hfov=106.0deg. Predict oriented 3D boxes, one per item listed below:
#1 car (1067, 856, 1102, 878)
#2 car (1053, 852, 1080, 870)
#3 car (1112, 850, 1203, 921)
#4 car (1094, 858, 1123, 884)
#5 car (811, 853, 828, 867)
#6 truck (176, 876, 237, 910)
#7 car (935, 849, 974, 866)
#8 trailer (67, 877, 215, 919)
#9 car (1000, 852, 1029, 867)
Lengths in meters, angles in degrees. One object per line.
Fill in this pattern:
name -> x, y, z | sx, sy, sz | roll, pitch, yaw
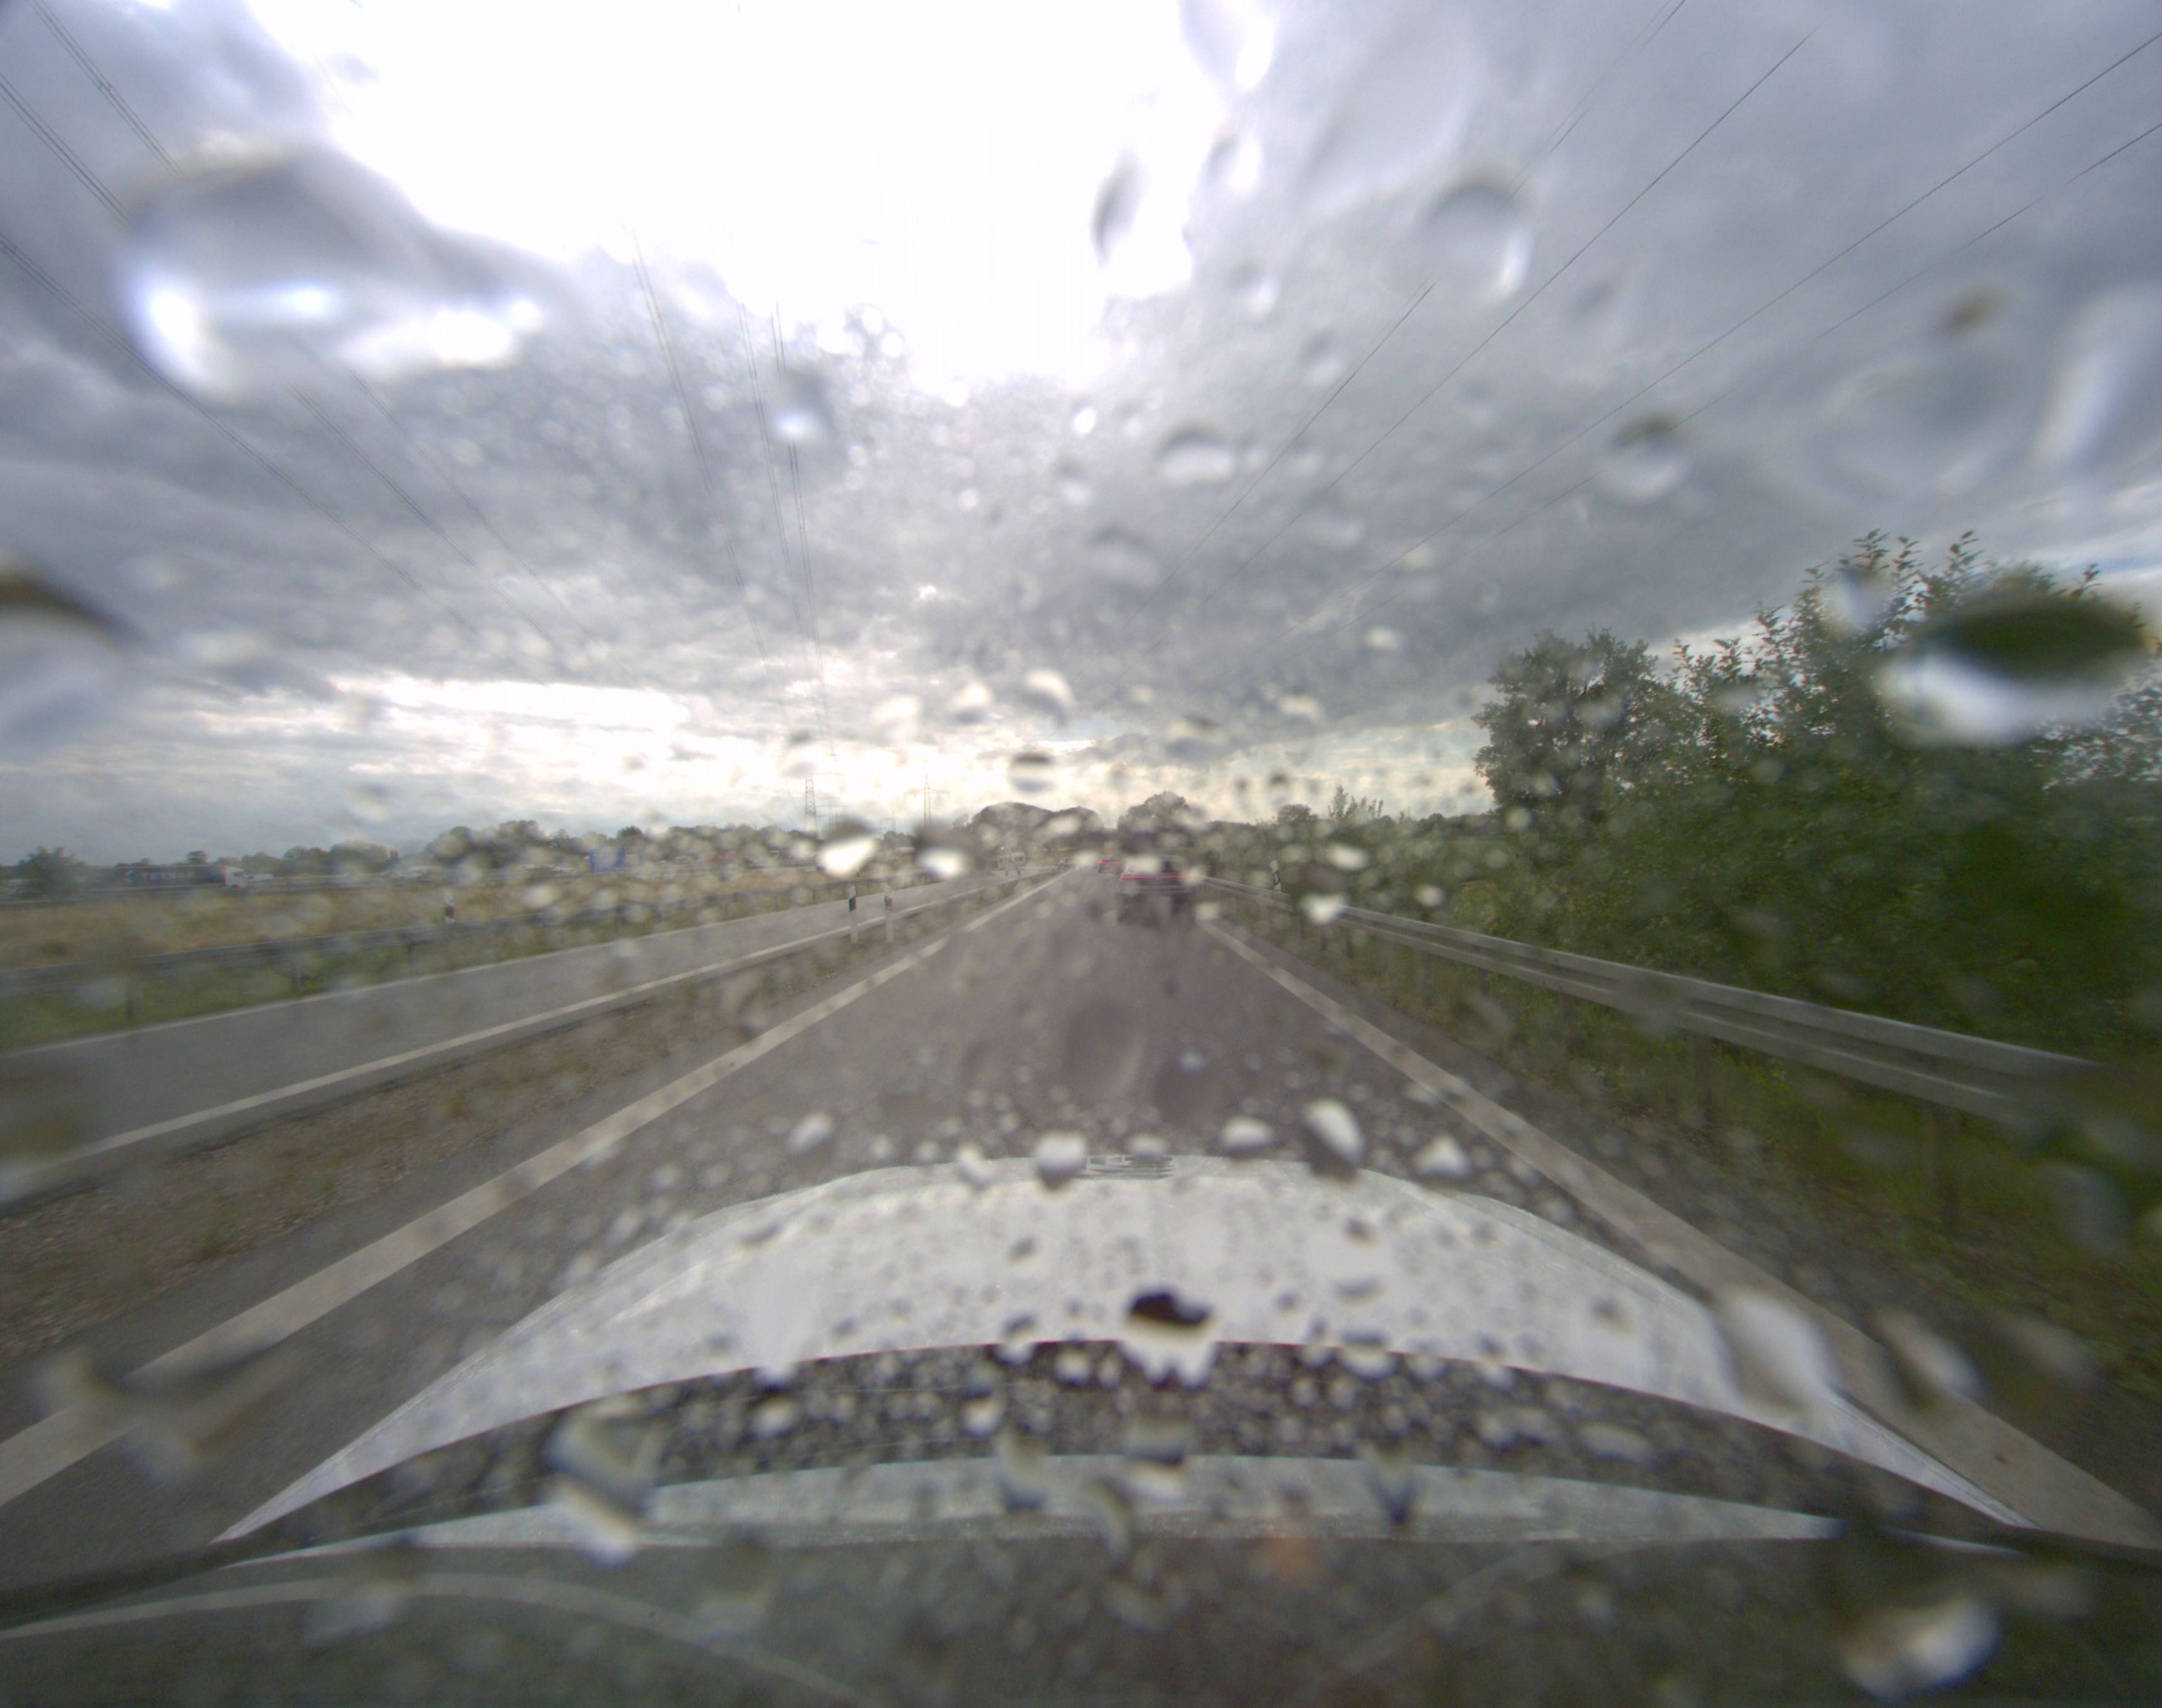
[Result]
car -> 0.377, 1.534, 99.247 | 2.363, 2.306, 5.086 | -3, 2, -25
car -> -2.062, 0.915, 116.959 | 2.359, 2.306, 5.096 | -2, 2, -19
car -> 1.826, 0.685, 20.012 | 1.985, 1.566, 4.153 | 0, 0, 4
car -> 2.309, 1.396, 69.417 | 2.115, 2.018, 5.531 | -2, 0, -1
car -> -66.796, 1.532, 207.864 | 3.396, 3.610, 8.981 | -2, 0, -21
truck -> -129.514, 5.732, 120.700 | 3.046, 4.479, 5.093 | -1, 2, 14
car -> -23.264, 0.588, 149.604 | 7.119, 2.951, 3.165 | 0, 3, 44
trailer -> -131.245, 5.989, 114.181 | 3.025, 4.634, 13.360 | -1, 2, 15
car -> -10.839, 0.879, 132.568 | 2.368, 2.306, 5.075 | -3, 3, -33
